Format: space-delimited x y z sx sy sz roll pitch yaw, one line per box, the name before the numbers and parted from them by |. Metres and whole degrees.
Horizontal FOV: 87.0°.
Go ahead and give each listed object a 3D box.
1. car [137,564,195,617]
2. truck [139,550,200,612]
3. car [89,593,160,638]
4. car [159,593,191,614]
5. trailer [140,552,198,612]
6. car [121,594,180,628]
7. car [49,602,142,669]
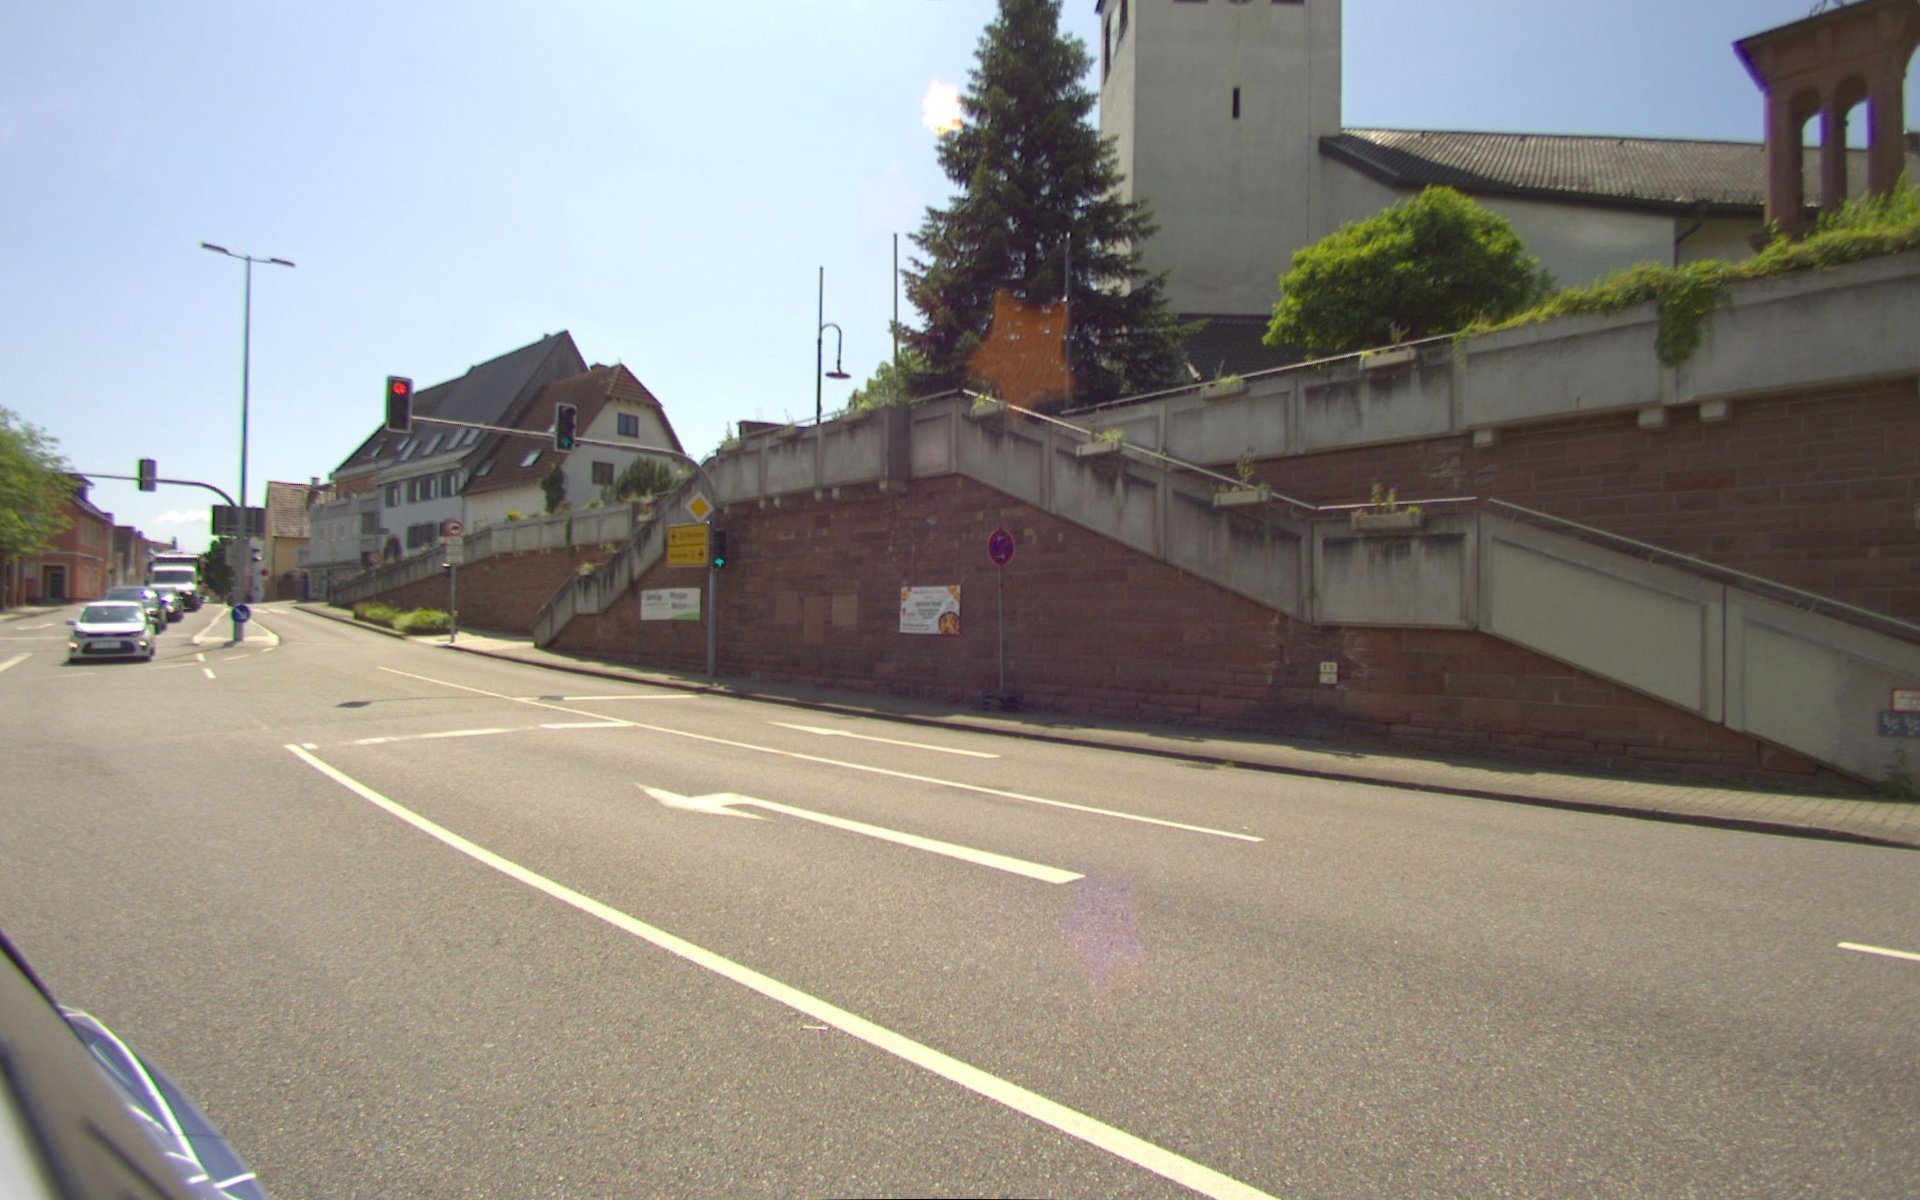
car | -41.178 -0.434 52.551 2.141 2.583 4.835 1 -2 -36
truck | -48.873 -1.099 62.570 2.805 3.597 5.478 1 -2 -39
car | -31.058 0.560 37.722 1.697 1.562 4.314 0 0 -35
car | -65.238 0.343 84.047 1.981 1.643 4.586 1 -2 -39
trailer | -52.960 -1.043 67.635 2.794 3.597 10.985 1 -2 -39
car | -34.865 0.448 43.666 1.899 1.376 4.312 0 0 -38
car | -22.115 0.858 25.981 1.698 1.562 4.311 0 0 -40
